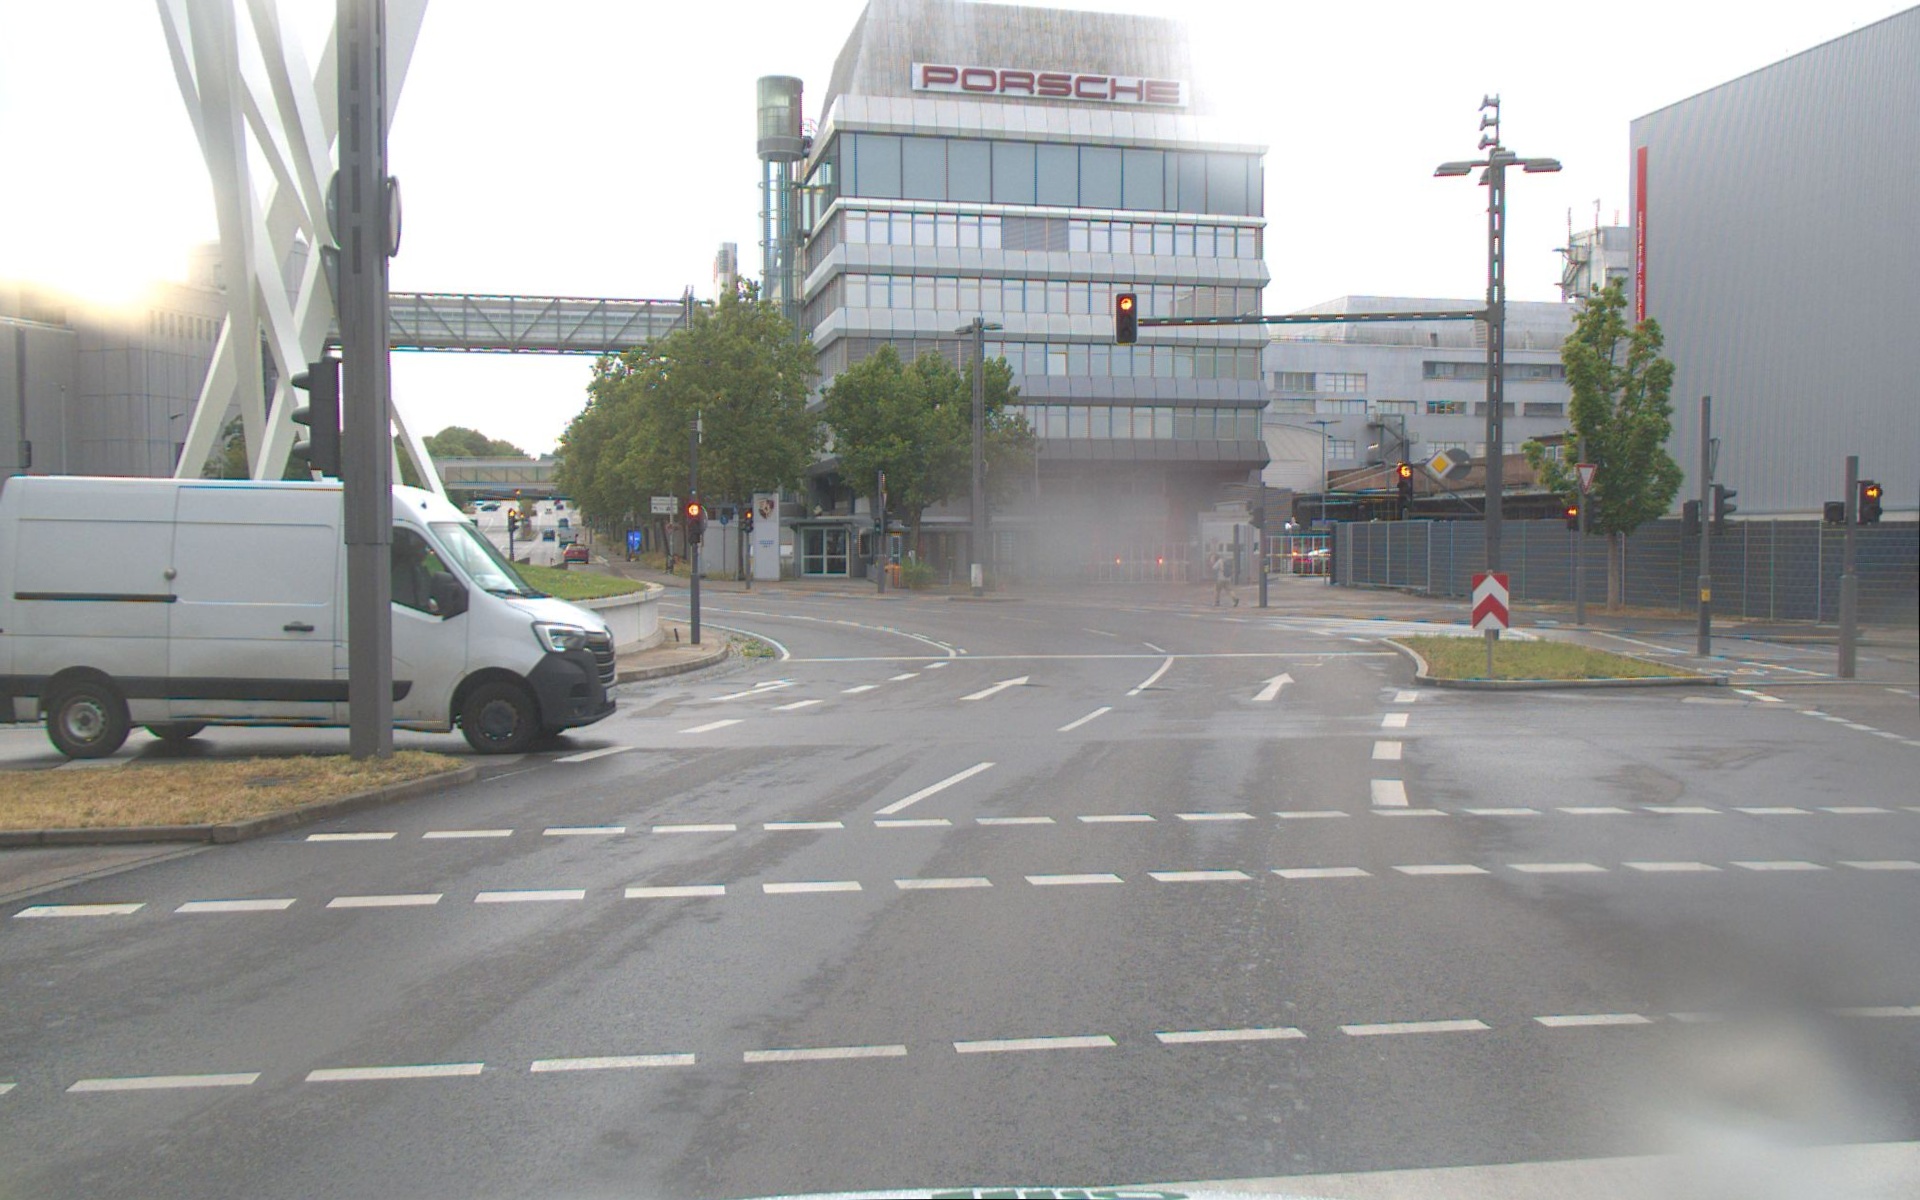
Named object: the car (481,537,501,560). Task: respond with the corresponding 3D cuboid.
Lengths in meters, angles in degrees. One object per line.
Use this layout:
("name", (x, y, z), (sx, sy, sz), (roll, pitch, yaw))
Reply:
("car", (-40.462, -4.439, 142.866), (1.600, 1.848, 3.718), (0, 1, -15))

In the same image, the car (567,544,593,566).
("car", (-27.771, -3.278, 120.737), (1.743, 1.490, 3.718), (0, 0, -15))

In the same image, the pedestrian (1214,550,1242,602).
("pedestrian", (8.550, -0.770, 52.779), (0.791, 1.639, 0.770), (-1, -1, 16))

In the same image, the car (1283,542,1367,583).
("car", (18.483, -1.906, 83.669), (1.965, 2.004, 4.864), (0, 1, 43))

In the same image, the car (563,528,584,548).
("car", (-45.959, -7.316, 196.522), (2.192, 2.145, 4.941), (0, -1, -11))

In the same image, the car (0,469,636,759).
("car", (-5.889, 0.102, 15.499), (5.299, 2.490, 1.999), (-1, 1, -2))

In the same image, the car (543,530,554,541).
("car", (-57.607, -8.989, 231.479), (1.531, 1.311, 3.400), (0, 0, -15))
